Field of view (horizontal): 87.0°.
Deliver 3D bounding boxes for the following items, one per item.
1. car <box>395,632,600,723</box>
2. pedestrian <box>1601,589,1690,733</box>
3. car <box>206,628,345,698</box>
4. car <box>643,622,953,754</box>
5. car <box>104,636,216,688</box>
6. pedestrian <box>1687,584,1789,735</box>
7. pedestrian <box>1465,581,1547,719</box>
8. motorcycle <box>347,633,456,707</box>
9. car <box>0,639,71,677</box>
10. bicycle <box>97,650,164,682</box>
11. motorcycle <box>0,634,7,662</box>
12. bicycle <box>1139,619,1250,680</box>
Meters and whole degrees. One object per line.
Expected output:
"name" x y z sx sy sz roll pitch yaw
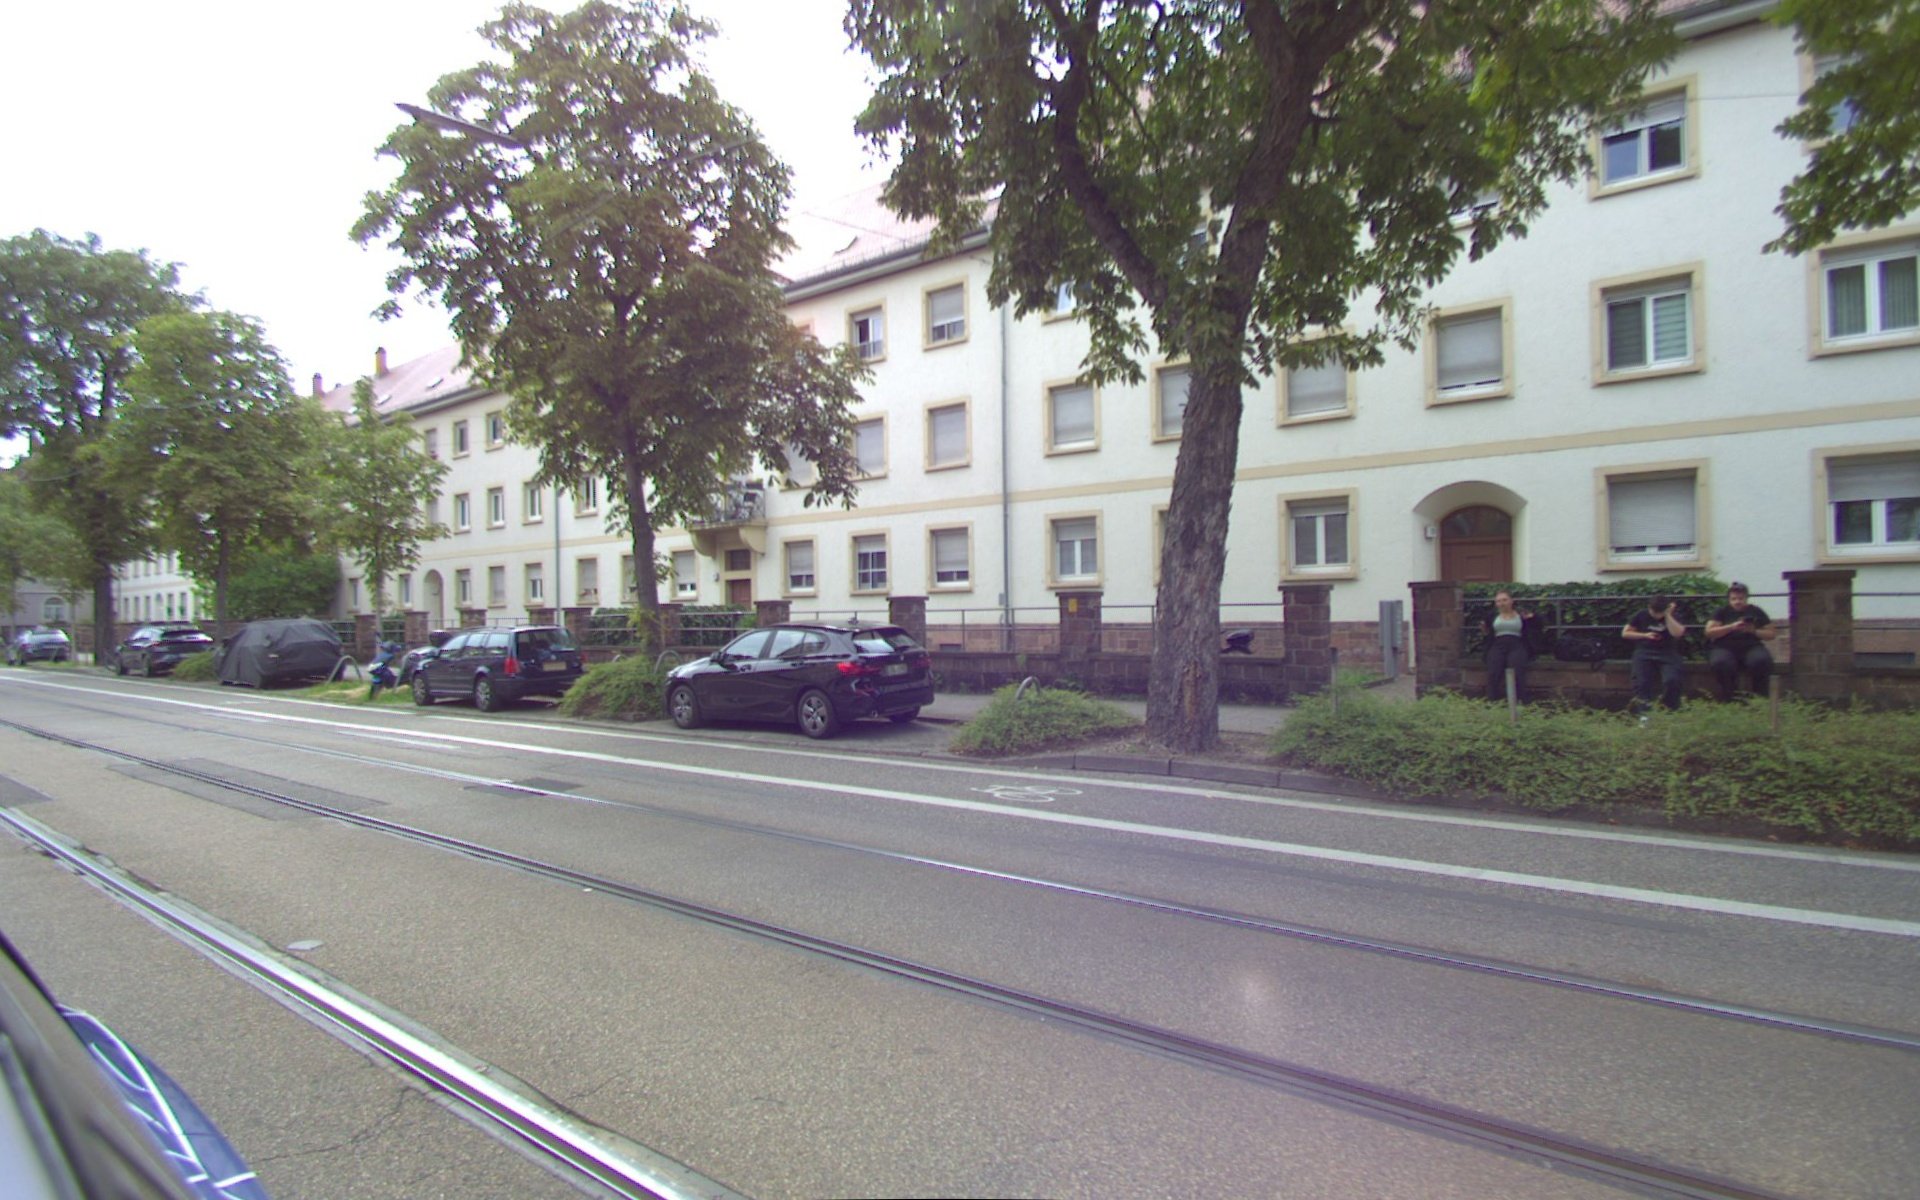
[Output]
"car" -8.669 1.361 18.800 4.294 1.434 1.680 -2 0 38
"pedestrian" 7.369 0.637 10.908 0.730 1.476 0.826 -2 -1 33
"car" -17.580 1.561 25.922 4.294 1.624 1.768 -2 -1 38
"car" -2.316 1.103 13.846 4.294 1.434 1.681 -2 2 39
"car" -25.026 1.887 31.626 4.291 1.481 1.681 -2 -1 36
"pedestrian" 8.018 0.596 10.468 0.730 1.476 0.826 -2 -1 33
"pedestrian" 6.326 0.560 11.710 0.730 1.524 0.826 -2 -1 33
"motorcycle" -11.695 1.434 21.247 0.590 1.269 1.851 -2 4 34
"car" -39.916 2.443 43.516 4.291 1.481 1.681 -2 -1 36
"bicycle" -28.427 2.250 34.705 0.670 0.978 1.655 -2 -1 29
"motorcycle" -52.092 2.663 53.455 2.278 1.399 0.840 -6 4 -20
"bicycle" 3.508 0.742 15.221 1.548 0.869 0.503 -2 -2 39
